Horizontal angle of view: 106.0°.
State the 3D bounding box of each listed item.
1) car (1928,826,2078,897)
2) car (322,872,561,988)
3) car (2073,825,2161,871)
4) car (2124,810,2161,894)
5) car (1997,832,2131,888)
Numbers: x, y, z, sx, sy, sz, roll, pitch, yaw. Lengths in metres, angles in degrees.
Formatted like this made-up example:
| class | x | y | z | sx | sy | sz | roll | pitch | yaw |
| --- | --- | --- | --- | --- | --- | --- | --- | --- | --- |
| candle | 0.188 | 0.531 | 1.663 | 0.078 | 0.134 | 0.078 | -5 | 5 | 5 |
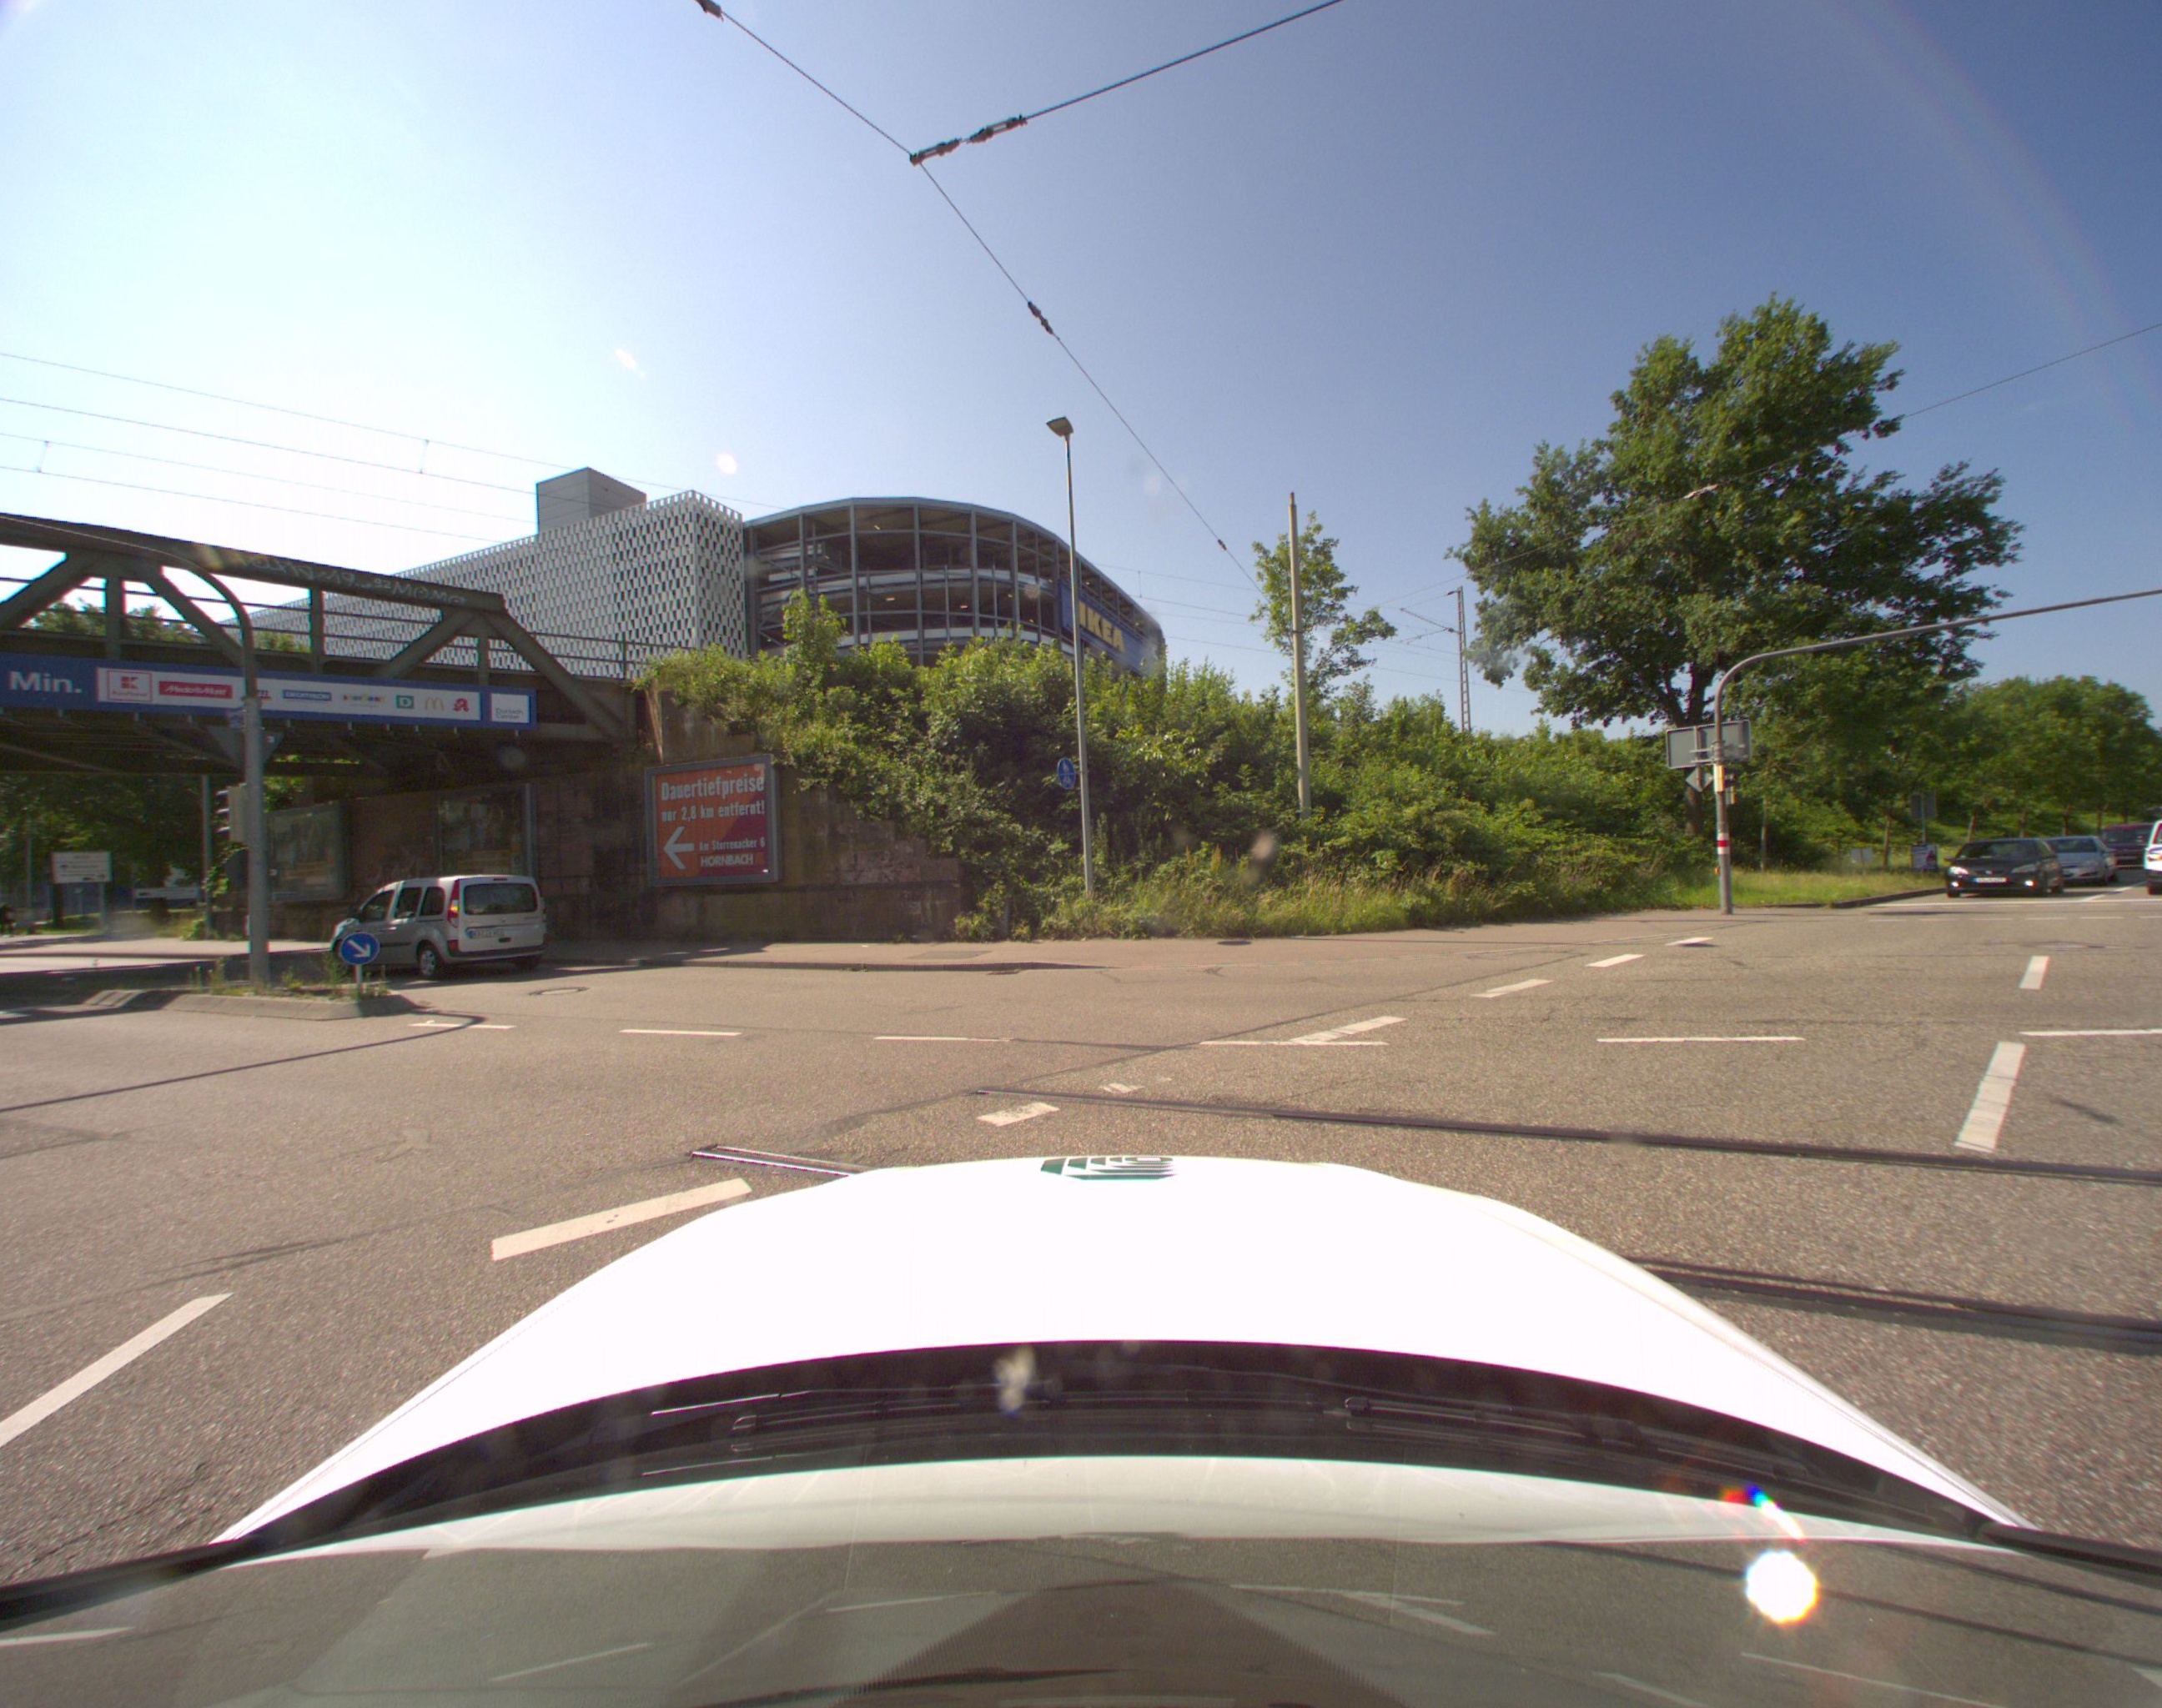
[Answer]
| class | x | y | z | sx | sy | sz | roll | pitch | yaw |
| --- | --- | --- | --- | --- | --- | --- | --- | --- | --- |
| car | 23.412 | 0.184 | 20.671 | 3.750 | 1.641 | 1.898 | -1 | -2 | -32 |
| car | -11.796 | 1.329 | 15.015 | 3.951 | 1.838 | 1.802 | -2 | 0 | 25 |
| car | 41.790 | -0.237 | 32.667 | 4.251 | 1.679 | 1.980 | -1 | -2 | -32 |
| car | 26.109 | -0.085 | 18.803 | 4.790 | 1.870 | 1.980 | -1 | -2 | -32 |
| car | 29.486 | 0.187 | 24.408 | 4.251 | 1.540 | 1.980 | -1 | -2 | -32 |
